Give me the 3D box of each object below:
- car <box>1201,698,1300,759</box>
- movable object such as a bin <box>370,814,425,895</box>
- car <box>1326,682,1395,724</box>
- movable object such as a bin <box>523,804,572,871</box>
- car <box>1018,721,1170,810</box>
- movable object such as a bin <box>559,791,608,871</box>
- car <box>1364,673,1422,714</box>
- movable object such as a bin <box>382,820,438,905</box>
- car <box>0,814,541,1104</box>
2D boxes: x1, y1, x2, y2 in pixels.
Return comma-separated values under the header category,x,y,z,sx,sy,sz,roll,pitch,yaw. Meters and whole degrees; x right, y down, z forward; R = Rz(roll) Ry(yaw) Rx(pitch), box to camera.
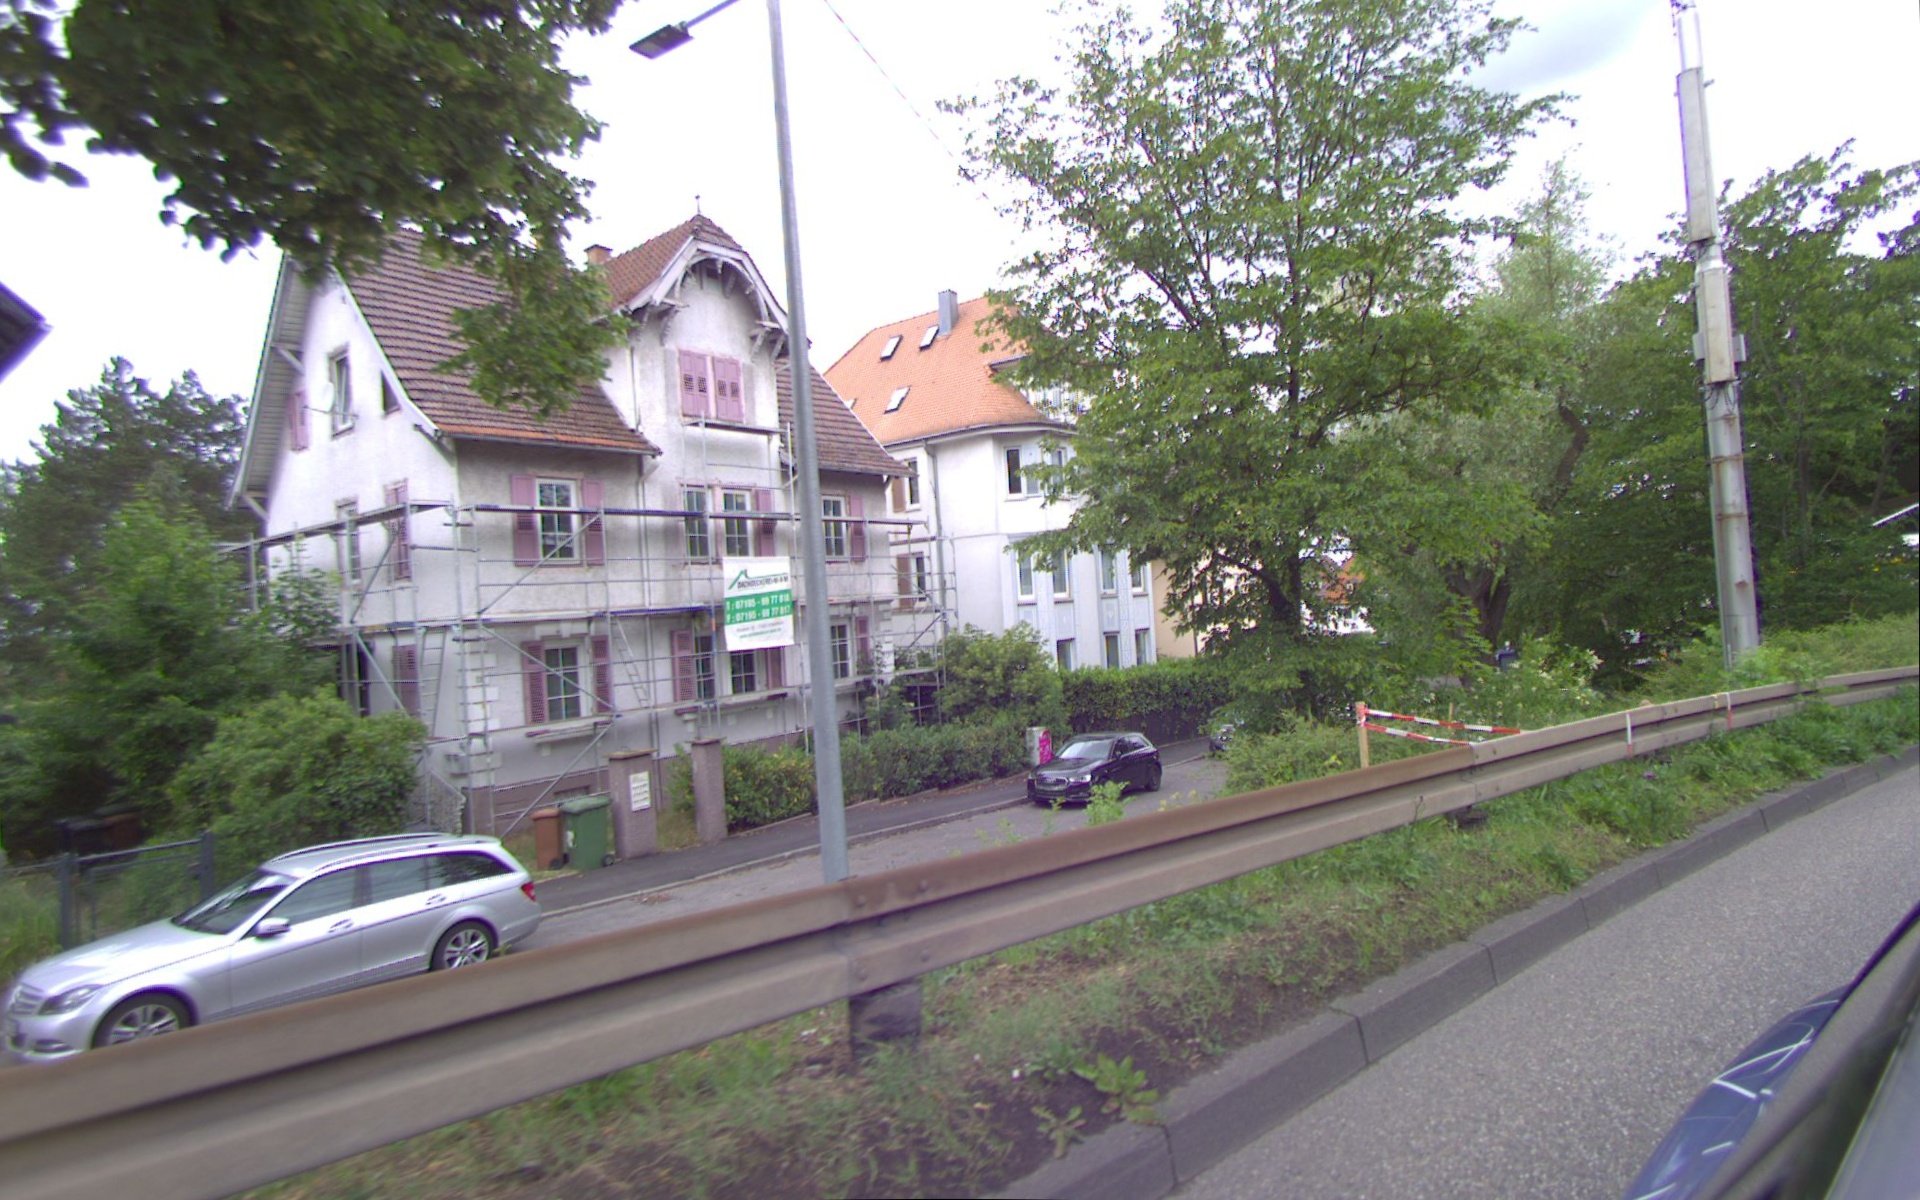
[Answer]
category,x,y,z,sx,sy,sz,roll,pitch,yaw
car,8.811,3.823,30.509,1.613,1.467,3.977,-5,-4,35
movable object such as a bin,-8.204,3.691,14.760,0.536,0.982,0.571,-1,-1,44
car,15.712,4.004,39.632,1.640,1.413,3.721,-5,-4,35
movable object such as a bin,-6.602,3.791,16.195,0.536,0.894,0.571,-1,-1,44
car,3.102,3.641,22.832,1.614,1.467,4.002,-5,-4,37
movable object such as a bin,-5.969,3.638,16.032,0.578,1.093,0.530,-1,-1,44
car,19.013,4.053,44.354,1.612,1.541,4.253,-4,-4,32
movable object such as a bin,-7.742,3.681,14.252,0.536,0.982,0.571,-1,-1,44
car,-6.675,3.273,10.149,1.614,1.460,4.373,-5,-4,37
